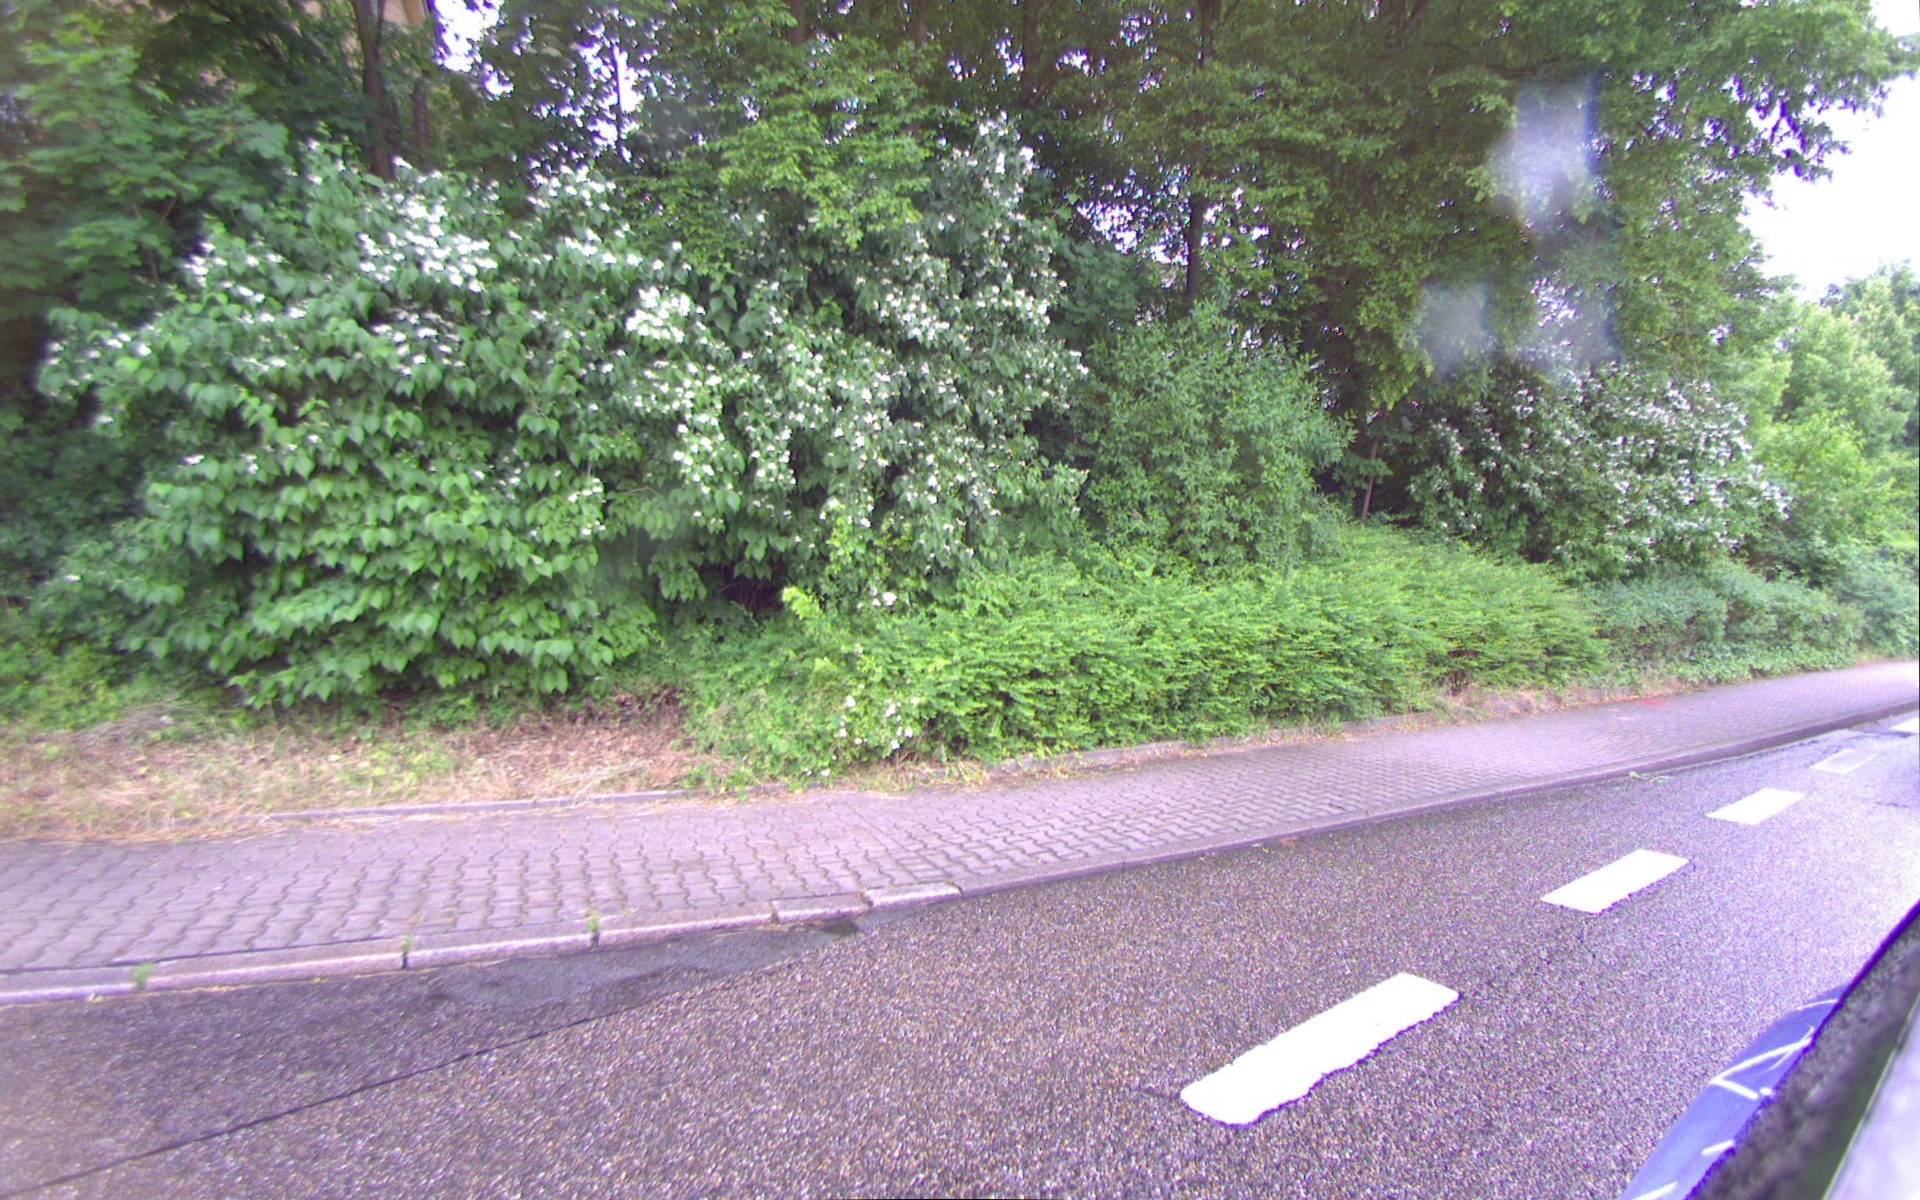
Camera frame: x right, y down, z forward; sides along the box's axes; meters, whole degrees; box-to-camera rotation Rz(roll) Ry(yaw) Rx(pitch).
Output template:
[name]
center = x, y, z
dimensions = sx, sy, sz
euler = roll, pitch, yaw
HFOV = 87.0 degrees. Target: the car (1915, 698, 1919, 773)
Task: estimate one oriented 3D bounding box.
[car]
center = 9.721, 0.630, 8.360
dimensions = 4.119, 1.524, 1.874
euler = -1, 4, -36
